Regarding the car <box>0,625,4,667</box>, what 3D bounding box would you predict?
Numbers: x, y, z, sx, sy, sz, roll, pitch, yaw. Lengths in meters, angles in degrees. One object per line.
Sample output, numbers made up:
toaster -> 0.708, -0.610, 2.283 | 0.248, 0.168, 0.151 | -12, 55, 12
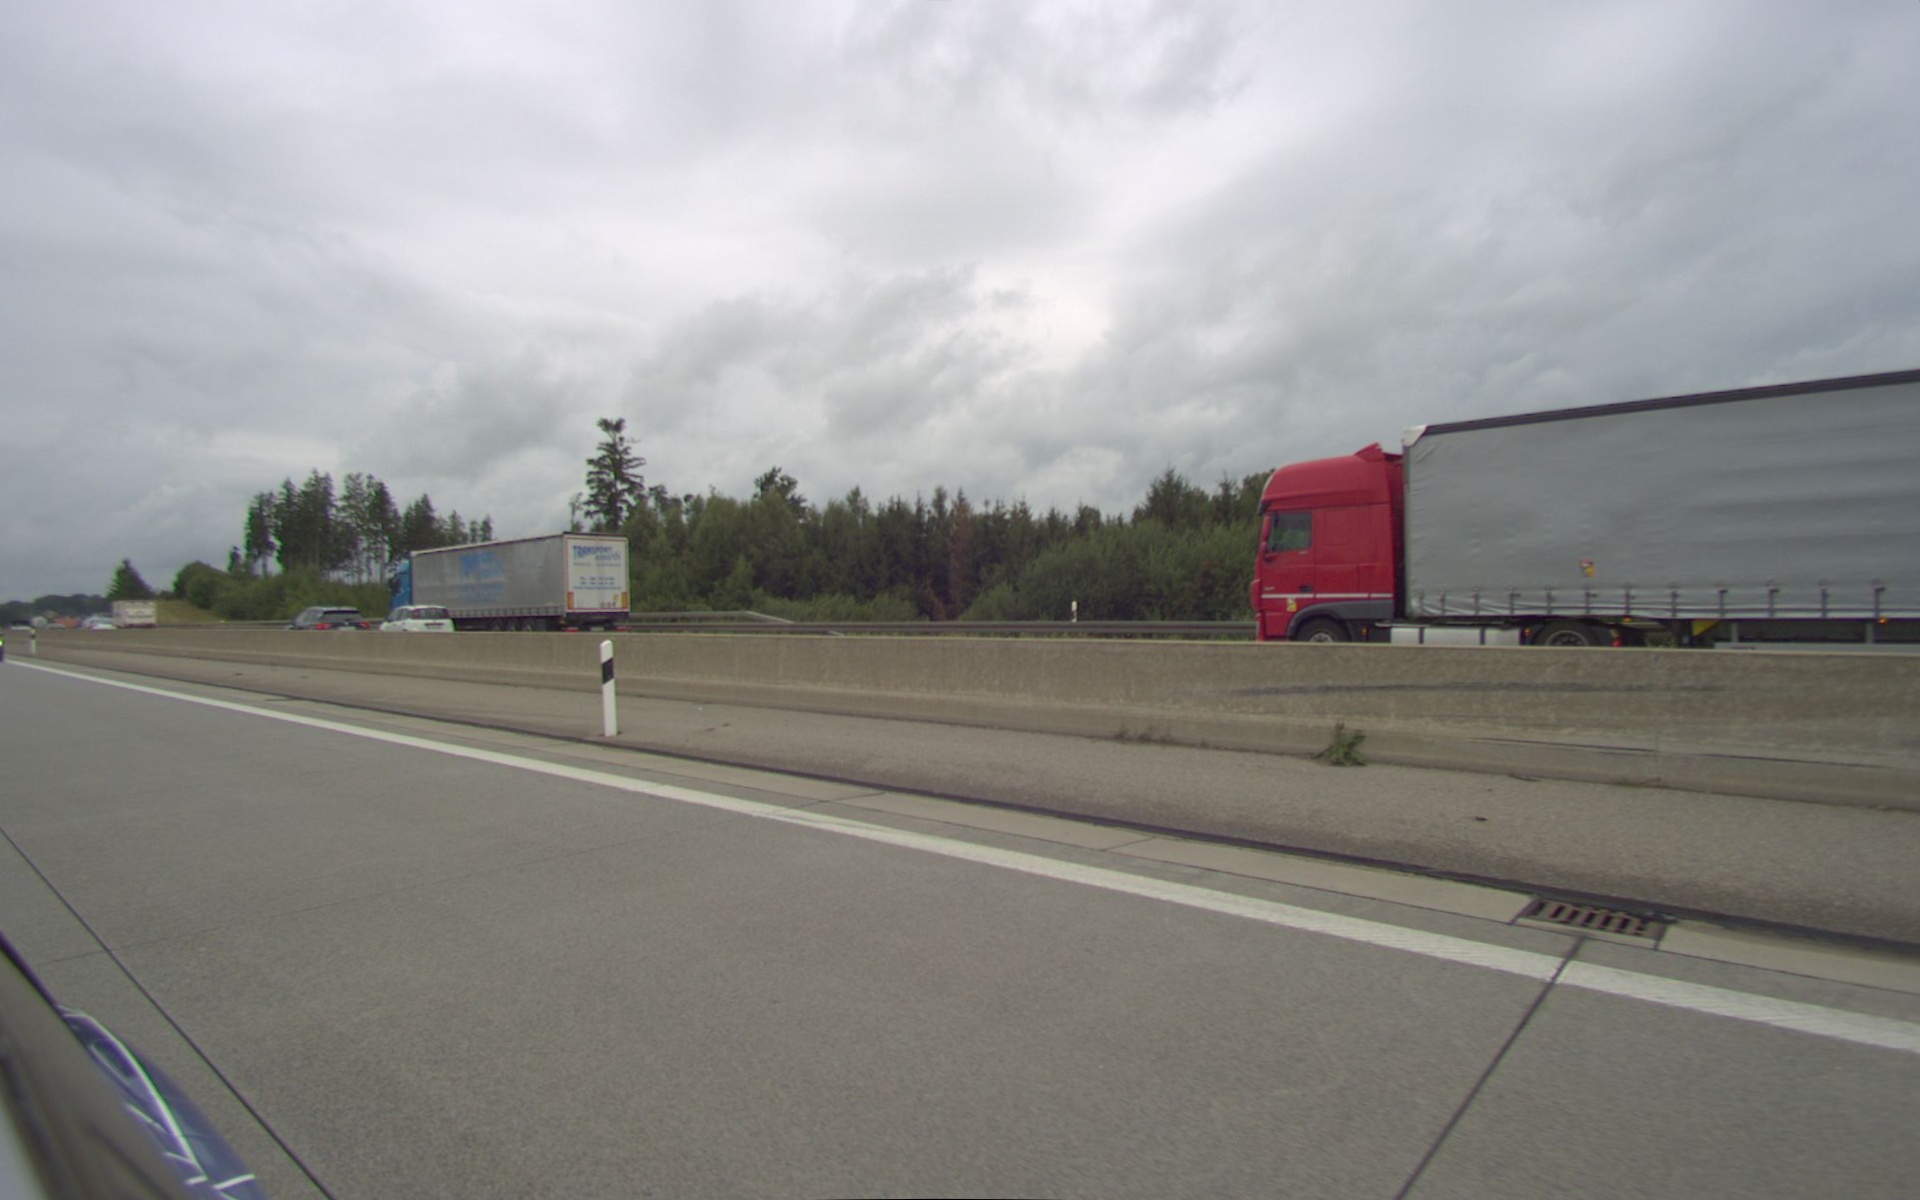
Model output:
car -> -36.303, 1.700, 36.894 | 4.569, 1.491, 1.766 | -2, -1, 42

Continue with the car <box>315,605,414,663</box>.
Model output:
car -> -18.493, 1.028, 31.357 | 3.999, 1.684, 1.516 | -2, -1, 43

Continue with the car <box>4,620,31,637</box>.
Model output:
car -> -143.266, 4.305, 153.802 | 7.517, 2.418, 2.592 | -2, -1, 44

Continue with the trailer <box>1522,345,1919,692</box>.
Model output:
trailer -> 14.466, -1.058, 12.238 | 12.923, 4.233, 3.446 | -2, -1, 42

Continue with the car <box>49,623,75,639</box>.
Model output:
car -> -95.728, 3.293, 107.875 | 4.410, 1.578, 1.612 | -2, -1, 43

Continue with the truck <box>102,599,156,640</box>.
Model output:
truck -> -82.112, 1.949, 99.957 | 8.898, 3.893, 2.868 | -2, -1, 42

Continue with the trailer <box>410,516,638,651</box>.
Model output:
trailer -> -17.877, -0.443, 40.591 | 13.632, 4.660, 2.885 | -2, -1, 42

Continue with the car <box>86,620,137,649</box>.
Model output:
car -> -49.969, 2.027, 59.577 | 4.719, 1.627, 1.680 | -2, -1, 43

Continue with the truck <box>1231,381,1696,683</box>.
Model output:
truck -> 8.537, -0.895, 17.566 | 6.491, 4.214, 3.433 | -2, -1, 42

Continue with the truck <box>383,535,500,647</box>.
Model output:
truck -> -23.262, -0.327, 45.351 | 5.230, 4.712, 2.897 | -2, -1, 41

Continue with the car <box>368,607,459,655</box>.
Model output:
car -> -20.189, 1.121, 37.315 | 4.293, 1.663, 1.597 | -2, -1, 42
